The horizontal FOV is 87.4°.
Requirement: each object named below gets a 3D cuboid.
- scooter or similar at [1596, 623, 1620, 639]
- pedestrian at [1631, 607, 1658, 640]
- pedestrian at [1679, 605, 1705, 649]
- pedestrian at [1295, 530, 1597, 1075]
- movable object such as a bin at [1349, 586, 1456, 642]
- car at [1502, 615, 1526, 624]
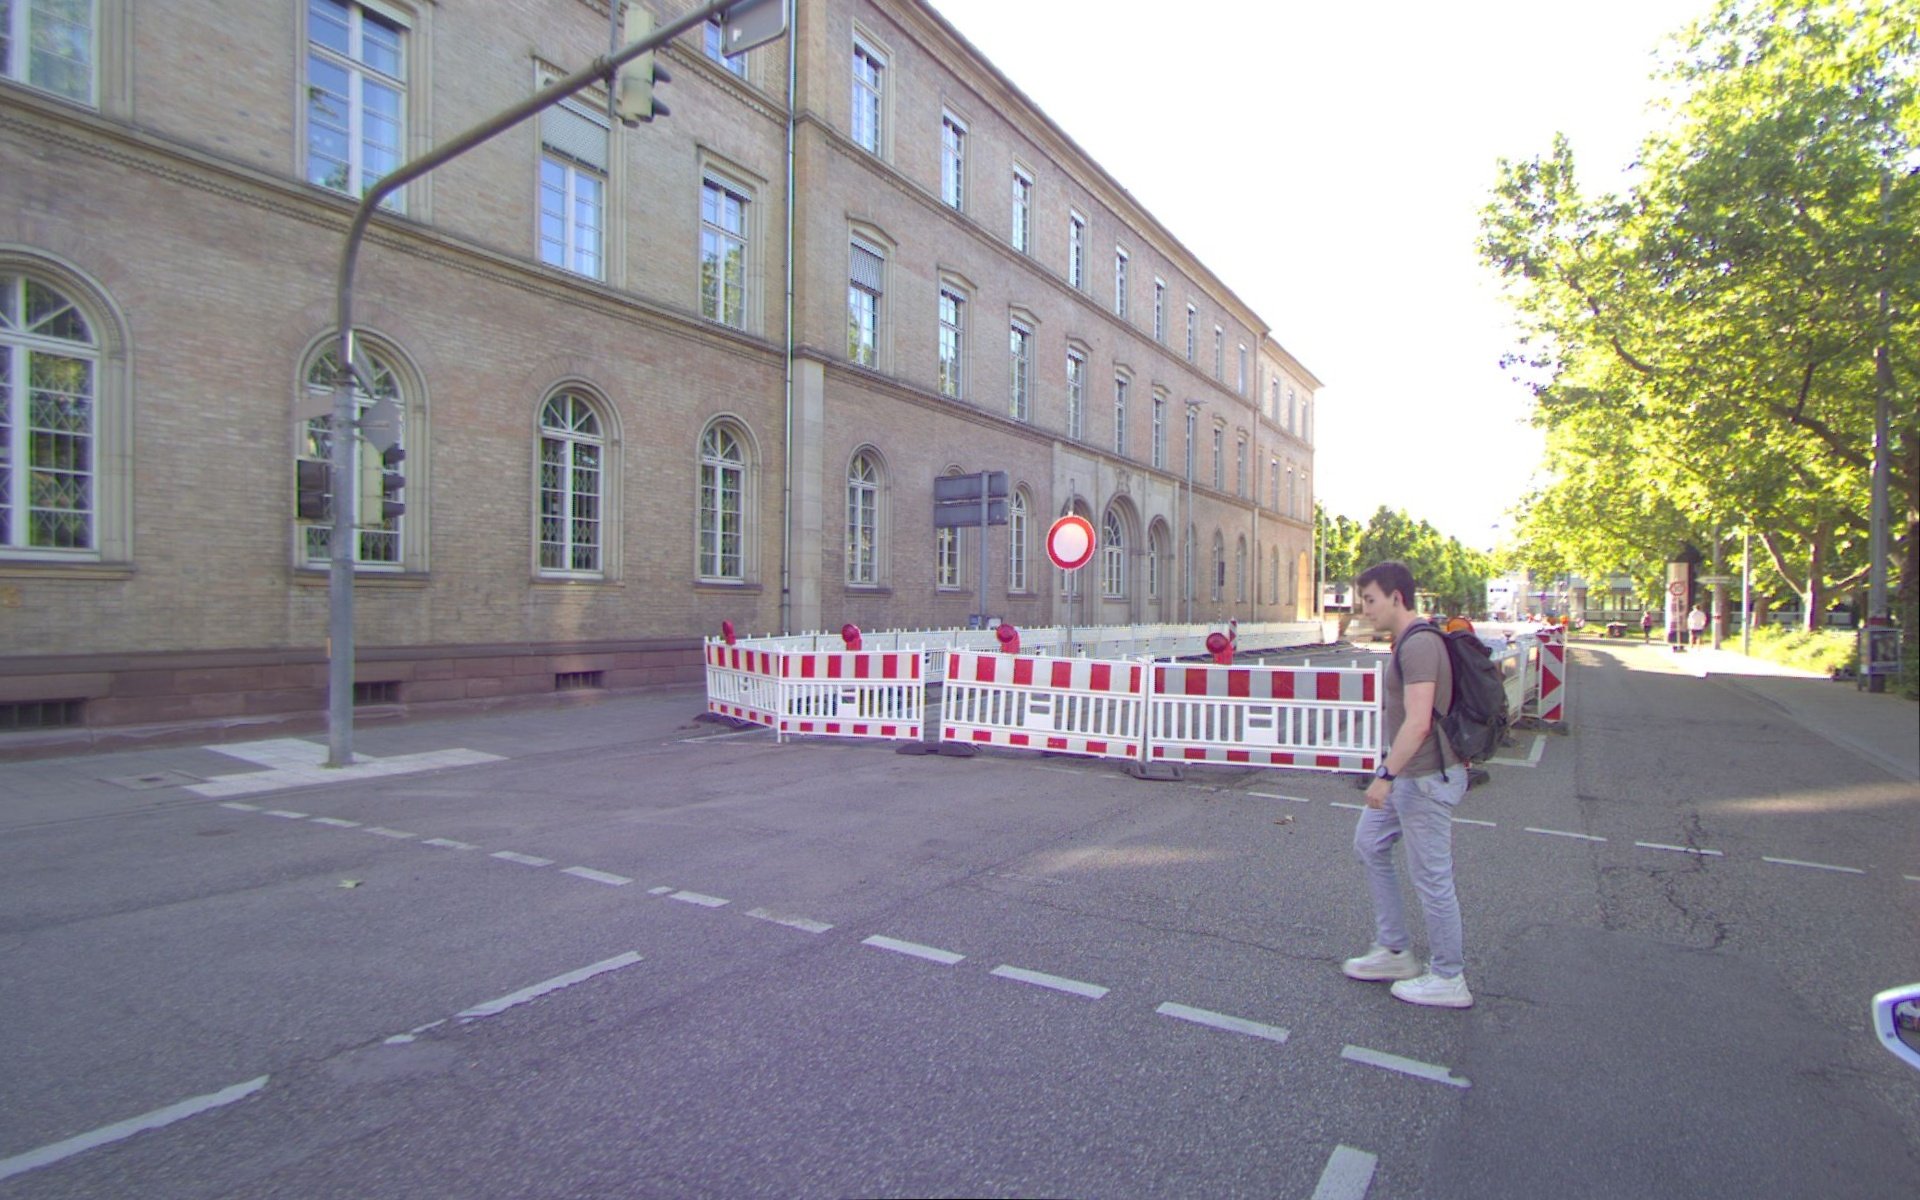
[{"bbox_3d":[38.417,1.824,59.554,1.129,0.926,0.419,-1,-2,25],"label":"scooter or similar"},{"bbox_3d":[34.710,1.204,50.930,0.696,1.645,0.939,1,-1,0],"label":"pedestrian"},{"bbox_3d":[31.480,1.166,43.192,0.734,1.837,1.132,0,1,28],"label":"pedestrian"},{"bbox_3d":[1.875,0.669,3.881,0.871,1.795,0.743,1,0,42],"label":"pedestrian"},{"bbox_3d":[25.379,0.814,57.920,2.523,3.071,5.915,0,-1,-14],"label":"movable object such as a bin"},{"bbox_3d":[124.419,4.317,225.534,4.491,1.814,1.996,1,0,31],"label":"car"}]
